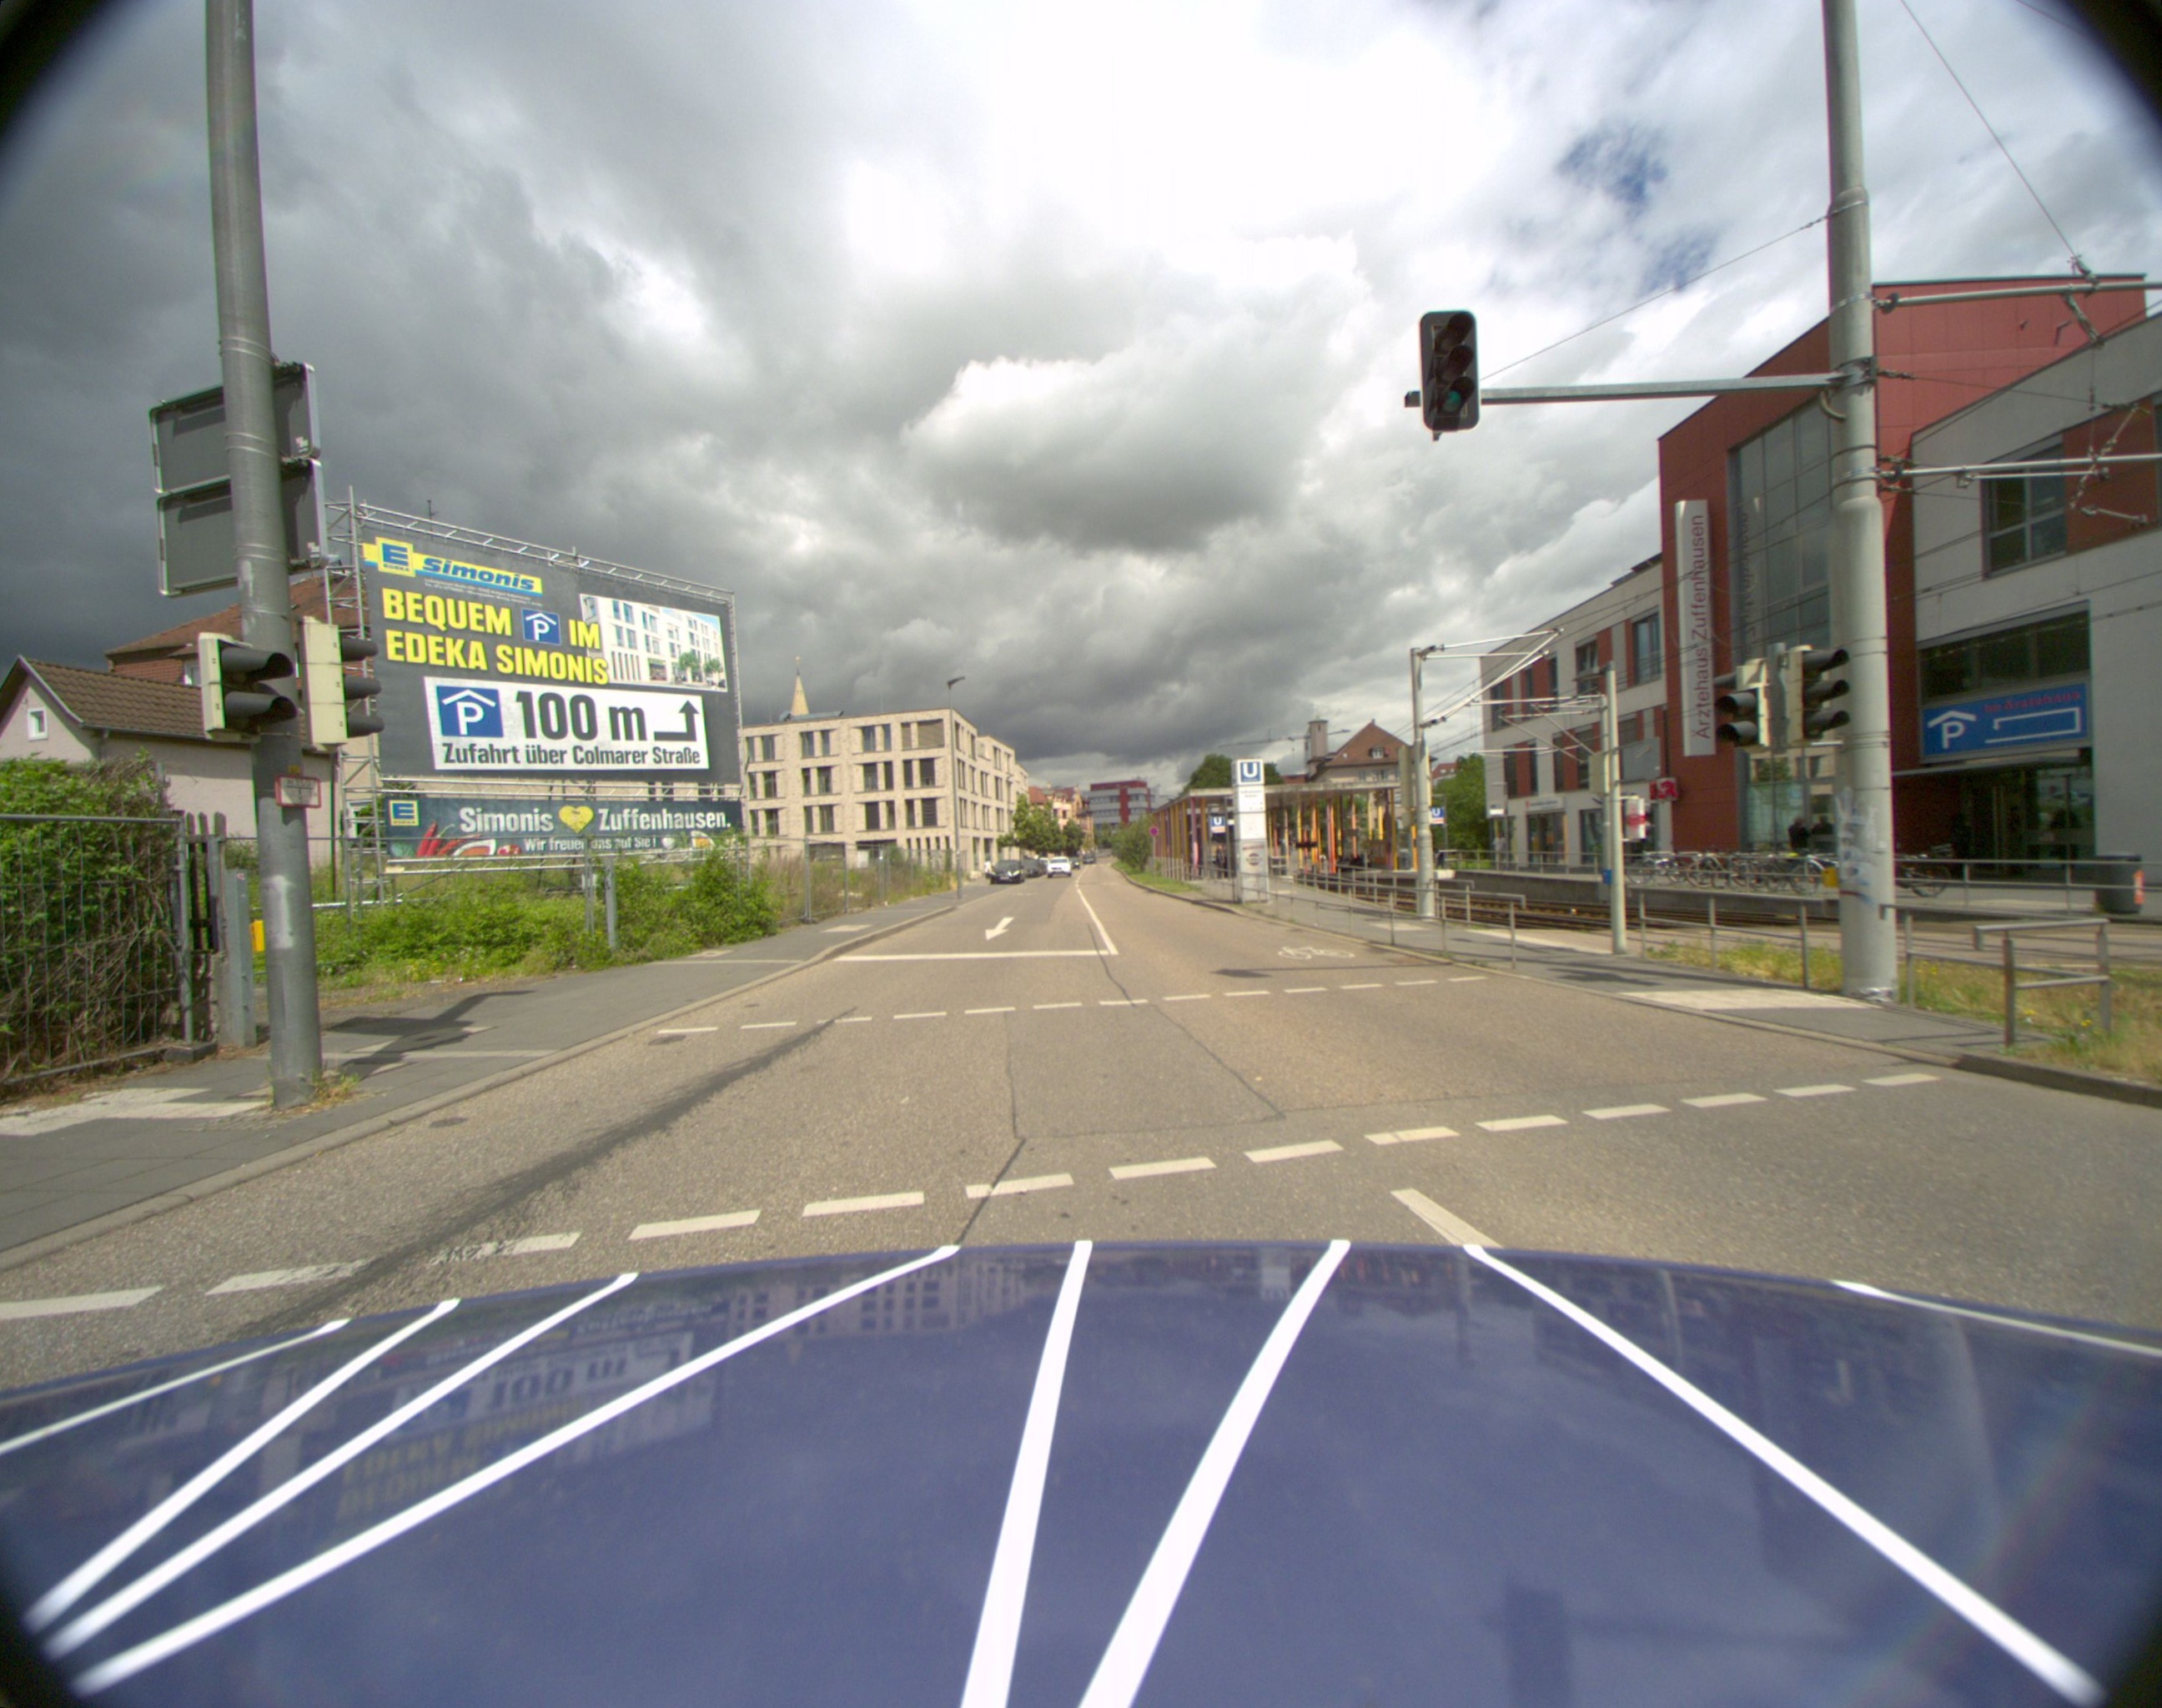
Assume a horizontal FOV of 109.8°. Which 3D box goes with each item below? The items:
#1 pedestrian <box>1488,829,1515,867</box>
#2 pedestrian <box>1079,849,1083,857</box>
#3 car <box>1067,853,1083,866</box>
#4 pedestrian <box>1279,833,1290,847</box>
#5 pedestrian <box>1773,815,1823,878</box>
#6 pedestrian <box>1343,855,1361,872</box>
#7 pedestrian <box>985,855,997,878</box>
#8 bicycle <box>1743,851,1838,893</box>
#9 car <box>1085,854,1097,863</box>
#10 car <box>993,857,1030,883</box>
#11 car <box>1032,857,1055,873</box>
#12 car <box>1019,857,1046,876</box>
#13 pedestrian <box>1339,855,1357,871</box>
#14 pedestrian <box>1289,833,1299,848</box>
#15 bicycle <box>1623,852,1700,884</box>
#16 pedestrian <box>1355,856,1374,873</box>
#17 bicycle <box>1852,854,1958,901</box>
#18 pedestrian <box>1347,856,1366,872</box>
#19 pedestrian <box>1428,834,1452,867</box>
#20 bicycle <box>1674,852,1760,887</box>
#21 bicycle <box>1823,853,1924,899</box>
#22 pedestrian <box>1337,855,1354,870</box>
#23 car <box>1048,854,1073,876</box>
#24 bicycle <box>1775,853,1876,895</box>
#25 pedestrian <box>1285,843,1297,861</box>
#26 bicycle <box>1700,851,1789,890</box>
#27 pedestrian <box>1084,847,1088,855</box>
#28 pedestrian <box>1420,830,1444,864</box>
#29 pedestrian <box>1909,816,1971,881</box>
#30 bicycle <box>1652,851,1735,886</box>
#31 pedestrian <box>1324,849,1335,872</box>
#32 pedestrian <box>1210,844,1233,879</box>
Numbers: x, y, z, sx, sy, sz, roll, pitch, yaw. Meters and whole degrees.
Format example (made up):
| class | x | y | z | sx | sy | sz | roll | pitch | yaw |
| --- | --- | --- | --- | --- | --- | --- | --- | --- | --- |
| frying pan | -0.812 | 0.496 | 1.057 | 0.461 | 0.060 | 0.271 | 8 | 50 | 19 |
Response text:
| class | x | y | z | sx | sy | sz | roll | pitch | yaw |
| --- | --- | --- | --- | --- | --- | --- | --- | --- | --- |
| pedestrian | 22.182 | -0.300 | 40.083 | 0.864 | 1.957 | 1.106 | -1 | 2 | 3 |
| pedestrian | 0.072 | -0.267 | 142.917 | 0.673 | 1.503 | 0.783 | -2 | 0 | 3 |
| car | -0.660 | 0.630 | 87.126 | 1.678 | 1.425 | 3.794 | -2 | 1 | 0 |
| pedestrian | 31.681 | -2.180 | 118.381 | 1.451 | 2.002 | 1.968 | 0 | 1 | 19 |
| pedestrian | 22.014 | -0.236 | 23.335 | 0.881 | 1.835 | 0.862 | -4 | 3 | -27 |
| pedestrian | 19.089 | 0.670 | 53.592 | 0.943 | 1.128 | 0.886 | -2 | 0 | 2 |
| pedestrian | -6.190 | 0.861 | 52.212 | 0.673 | 1.503 | 0.782 | -2 | 0 | 1 |
| bicycle | 17.686 | 0.441 | 18.965 | 1.862 | 0.957 | 0.454 | -2 | 1 | 3 |
| car | 1.527 | 0.621 | 114.507 | 1.677 | 1.299 | 3.794 | -1 | 1 | 3 |
| car | -4.153 | 0.960 | 46.108 | 1.677 | 1.415 | 3.794 | -1 | 1 | 3 |
| car | -3.289 | 0.987 | 67.855 | 1.677 | 1.299 | 3.794 | -1 | 1 | 3 |
| car | -3.799 | 0.985 | 59.952 | 1.677 | 1.367 | 3.795 | -2 | 0 | 3 |
| pedestrian | 19.186 | 0.650 | 54.582 | 0.943 | 1.128 | 0.886 | -2 | 0 | 2 |
| pedestrian | 29.603 | -1.881 | 105.635 | 1.125 | 2.002 | 1.661 | -1 | 0 | 13 |
| bicycle | 17.536 | 0.425 | 22.974 | 1.861 | 0.876 | 0.455 | -2 | 1 | 9 |
| pedestrian | 19.269 | 0.702 | 51.679 | 0.943 | 1.128 | 0.886 | -2 | 0 | 2 |
| bicycle | 17.727 | 0.506 | 16.361 | 1.739 | 0.947 | 0.428 | -2 | 1 | 3 |
| pedestrian | 19.074 | 0.688 | 52.634 | 0.943 | 1.128 | 0.886 | -2 | 0 | 2 |
| pedestrian | 21.237 | -0.212 | 44.947 | 0.864 | 1.957 | 1.105 | -1 | 2 | -1 |
| bicycle | 17.570 | 0.426 | 21.017 | 1.861 | 0.917 | 0.455 | -2 | 1 | 8 |
| bicycle | 17.716 | 0.492 | 16.994 | 1.739 | 0.952 | 0.428 | -2 | 1 | 3 |
| pedestrian | 19.289 | 0.616 | 55.495 | 0.943 | 1.128 | 0.886 | -2 | 0 | 2 |
| car | -1.525 | 0.832 | 57.608 | 1.719 | 1.541 | 3.793 | -1 | 0 | 1 |
| bicycle | 17.649 | 0.473 | 18.033 | 1.862 | 0.930 | 0.454 | -2 | 1 | 3 |
| pedestrian | 24.643 | -0.214 | 89.013 | 1.127 | 2.002 | 1.179 | -1 | 0 | 6 |
| bicycle | 17.552 | 0.432 | 20.116 | 1.861 | 0.934 | 0.454 | -2 | 1 | 5 |
| pedestrian | 0.959 | -0.534 | 142.637 | 0.673 | 1.503 | 0.783 | -2 | 0 | 3 |
| pedestrian | 20.738 | -0.398 | 44.919 | 0.864 | 1.957 | 1.105 | -1 | 2 | -1 |
| pedestrian | 22.683 | -0.147 | 20.083 | 0.933 | 1.688 | 0.790 | 0 | 2 | 36 |
| bicycle | 17.595 | 0.411 | 21.846 | 1.861 | 0.927 | 0.455 | -2 | 1 | 9 |
| pedestrian | 22.019 | 0.577 | 67.419 | 0.617 | 2.002 | 0.775 | -1 | 0 | -6 |
| pedestrian | 7.706 | 0.398 | 41.638 | 1.105 | 1.903 | 0.864 | -1 | 2 | 2 |
